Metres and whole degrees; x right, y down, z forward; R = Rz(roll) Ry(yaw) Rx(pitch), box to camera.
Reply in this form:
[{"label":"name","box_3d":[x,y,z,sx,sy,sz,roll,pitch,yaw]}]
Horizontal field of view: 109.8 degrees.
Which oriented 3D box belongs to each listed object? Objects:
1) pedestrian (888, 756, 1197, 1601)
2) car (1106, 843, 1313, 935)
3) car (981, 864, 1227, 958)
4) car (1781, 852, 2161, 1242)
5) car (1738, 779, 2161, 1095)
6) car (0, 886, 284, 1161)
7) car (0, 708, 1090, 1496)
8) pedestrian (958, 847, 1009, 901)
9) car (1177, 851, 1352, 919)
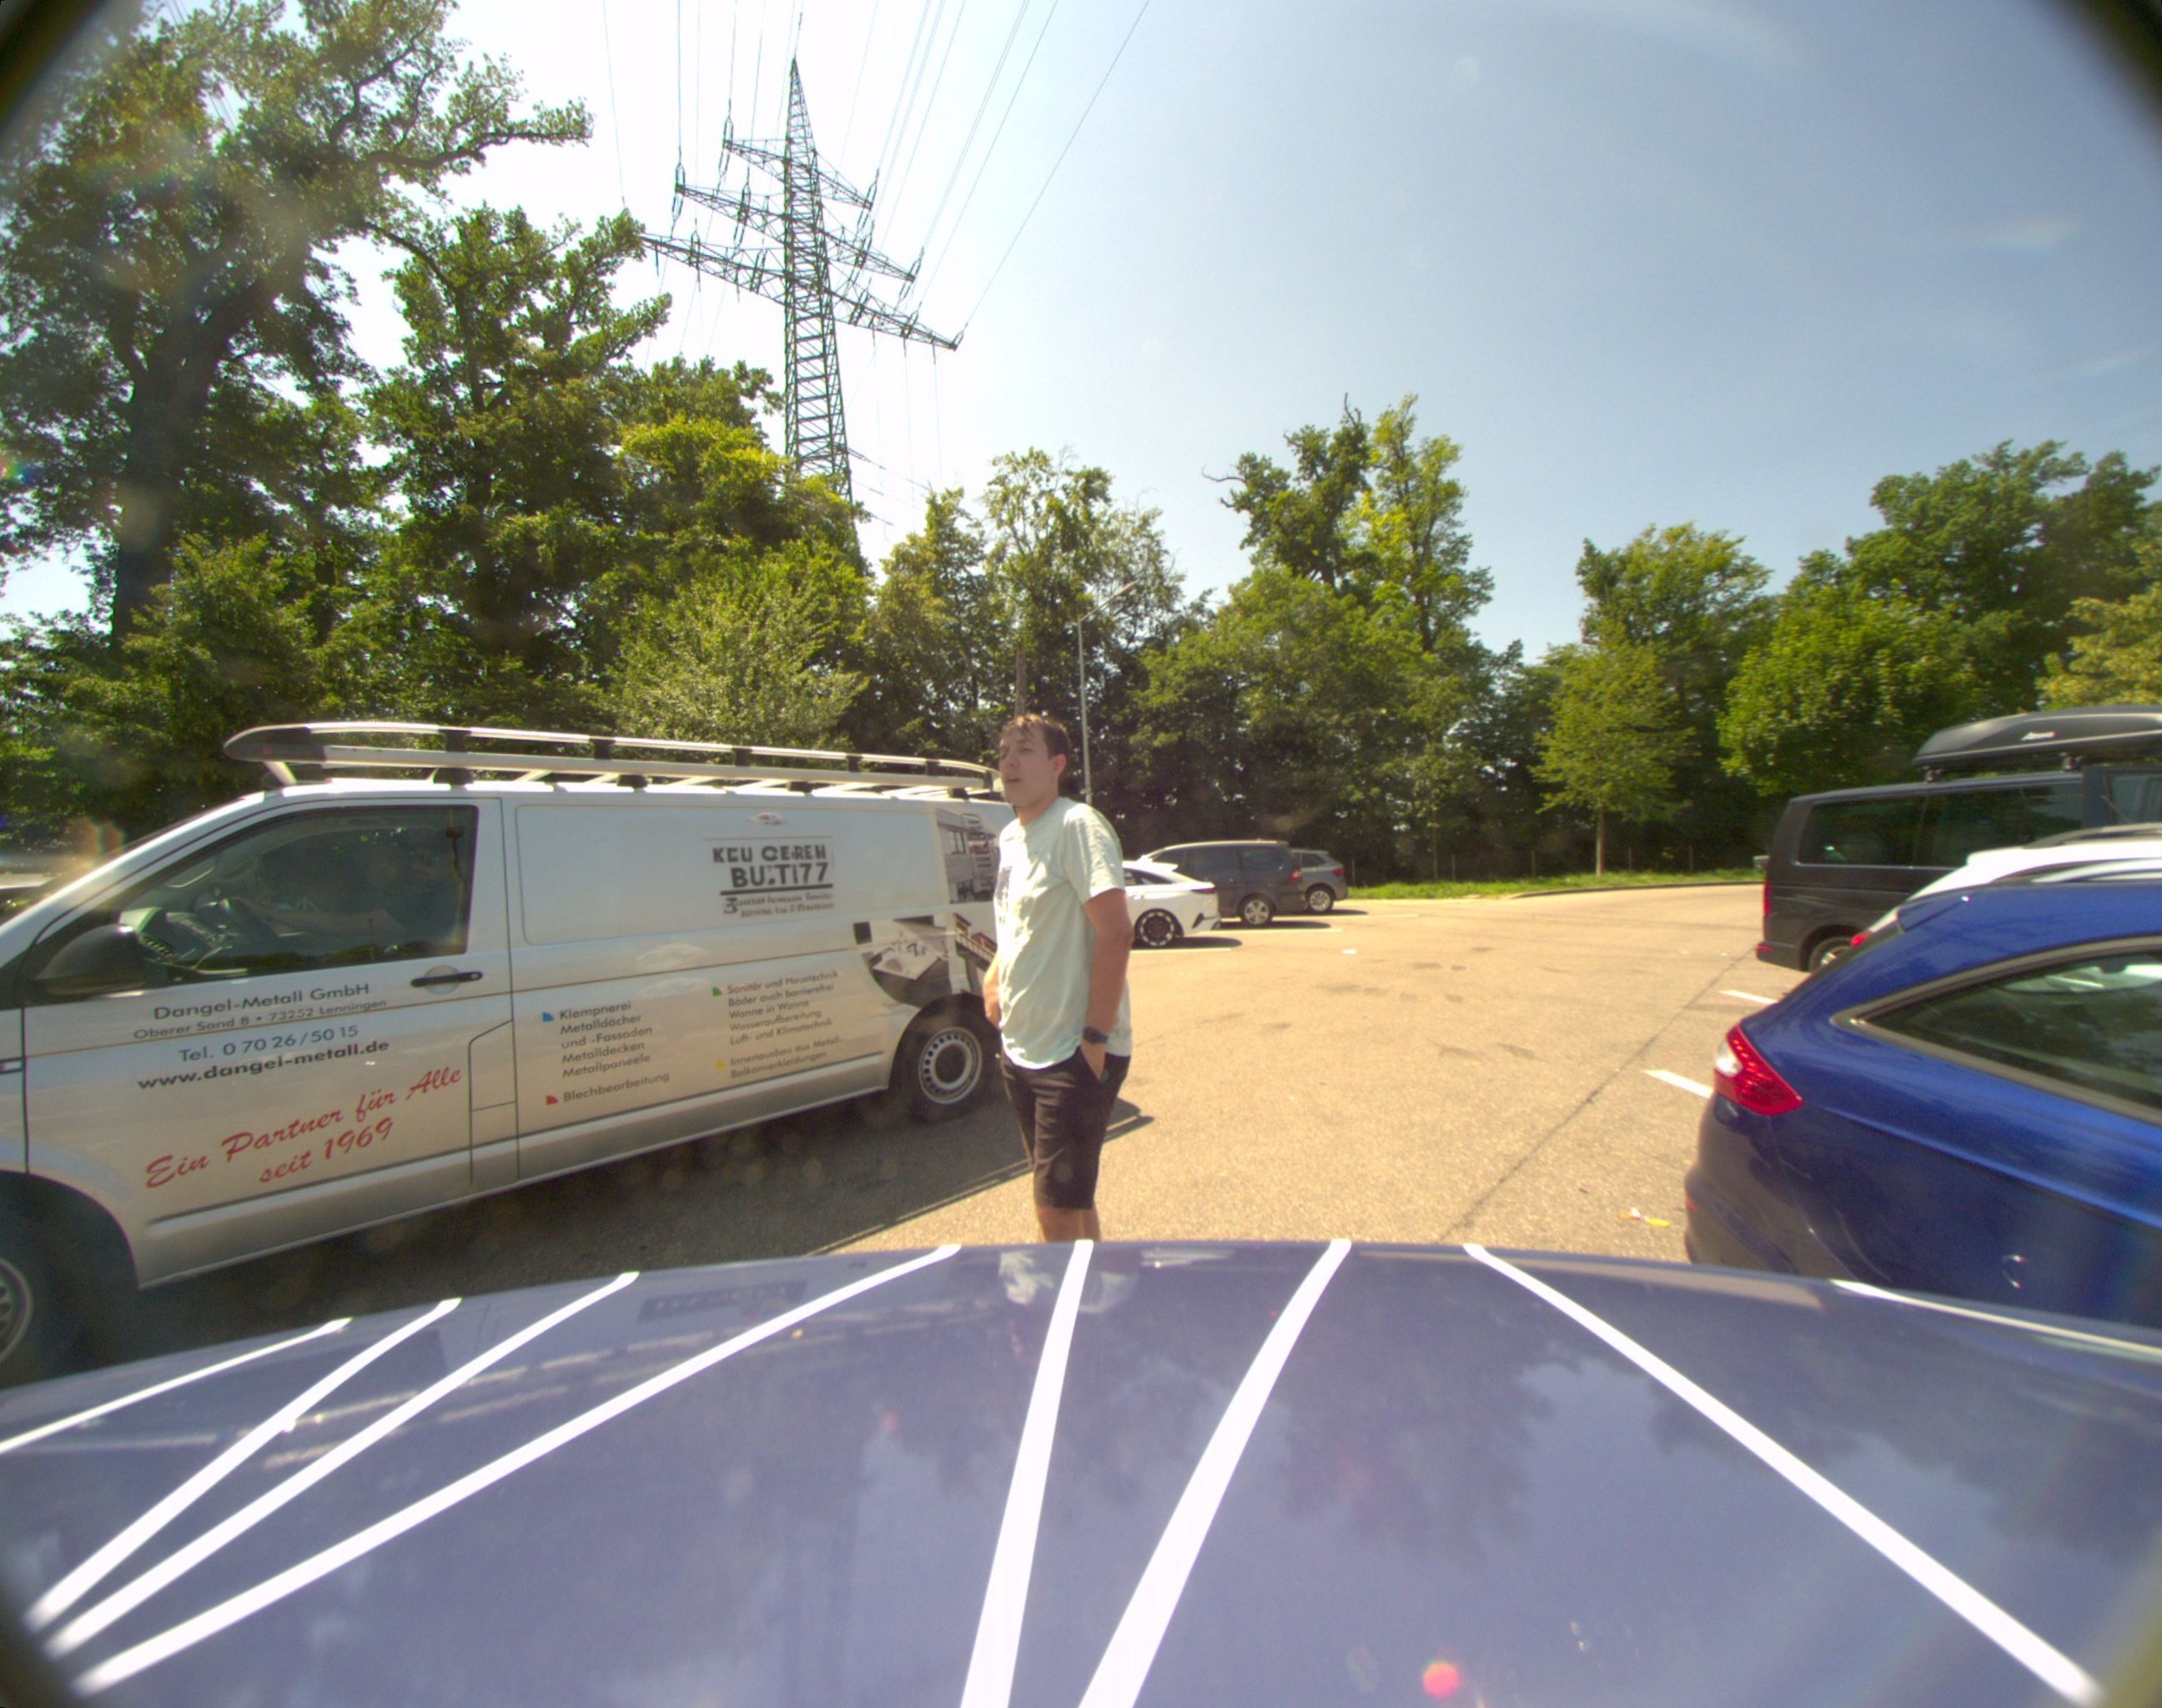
[{"label":"pedestrian","box_3d":[-0.161,0.710,2.118,0.634,1.857,0.747,-2,0,-17]},{"label":"car","box_3d":[2.516,0.681,15.482,3.882,1.680,1.882,-1,0,5]},{"label":"car","box_3d":[0.414,0.908,12.732,3.805,1.359,1.803,-1,1,5]},{"label":"car","box_3d":[4.785,0.703,2.418,1.607,1.405,3.743,-2,-1,-1]},{"label":"car","box_3d":[7.313,0.458,5.015,2.048,1.850,4.430,-2,-1,-1]},{"label":"car","box_3d":[-8.338,1.093,5.431,3.950,1.581,1.753,-1,1,11]},{"label":"car","box_3d":[-2.588,0.673,3.787,5.323,2.137,1.995,-2,-1,-44]},{"label":"pedestrian","box_3d":[-2.400,0.484,18.714,0.890,1.292,0.865,-2,0,23]},{"label":"car","box_3d":[4.263,0.709,18.106,3.805,1.468,1.743,-1,1,5]}]
